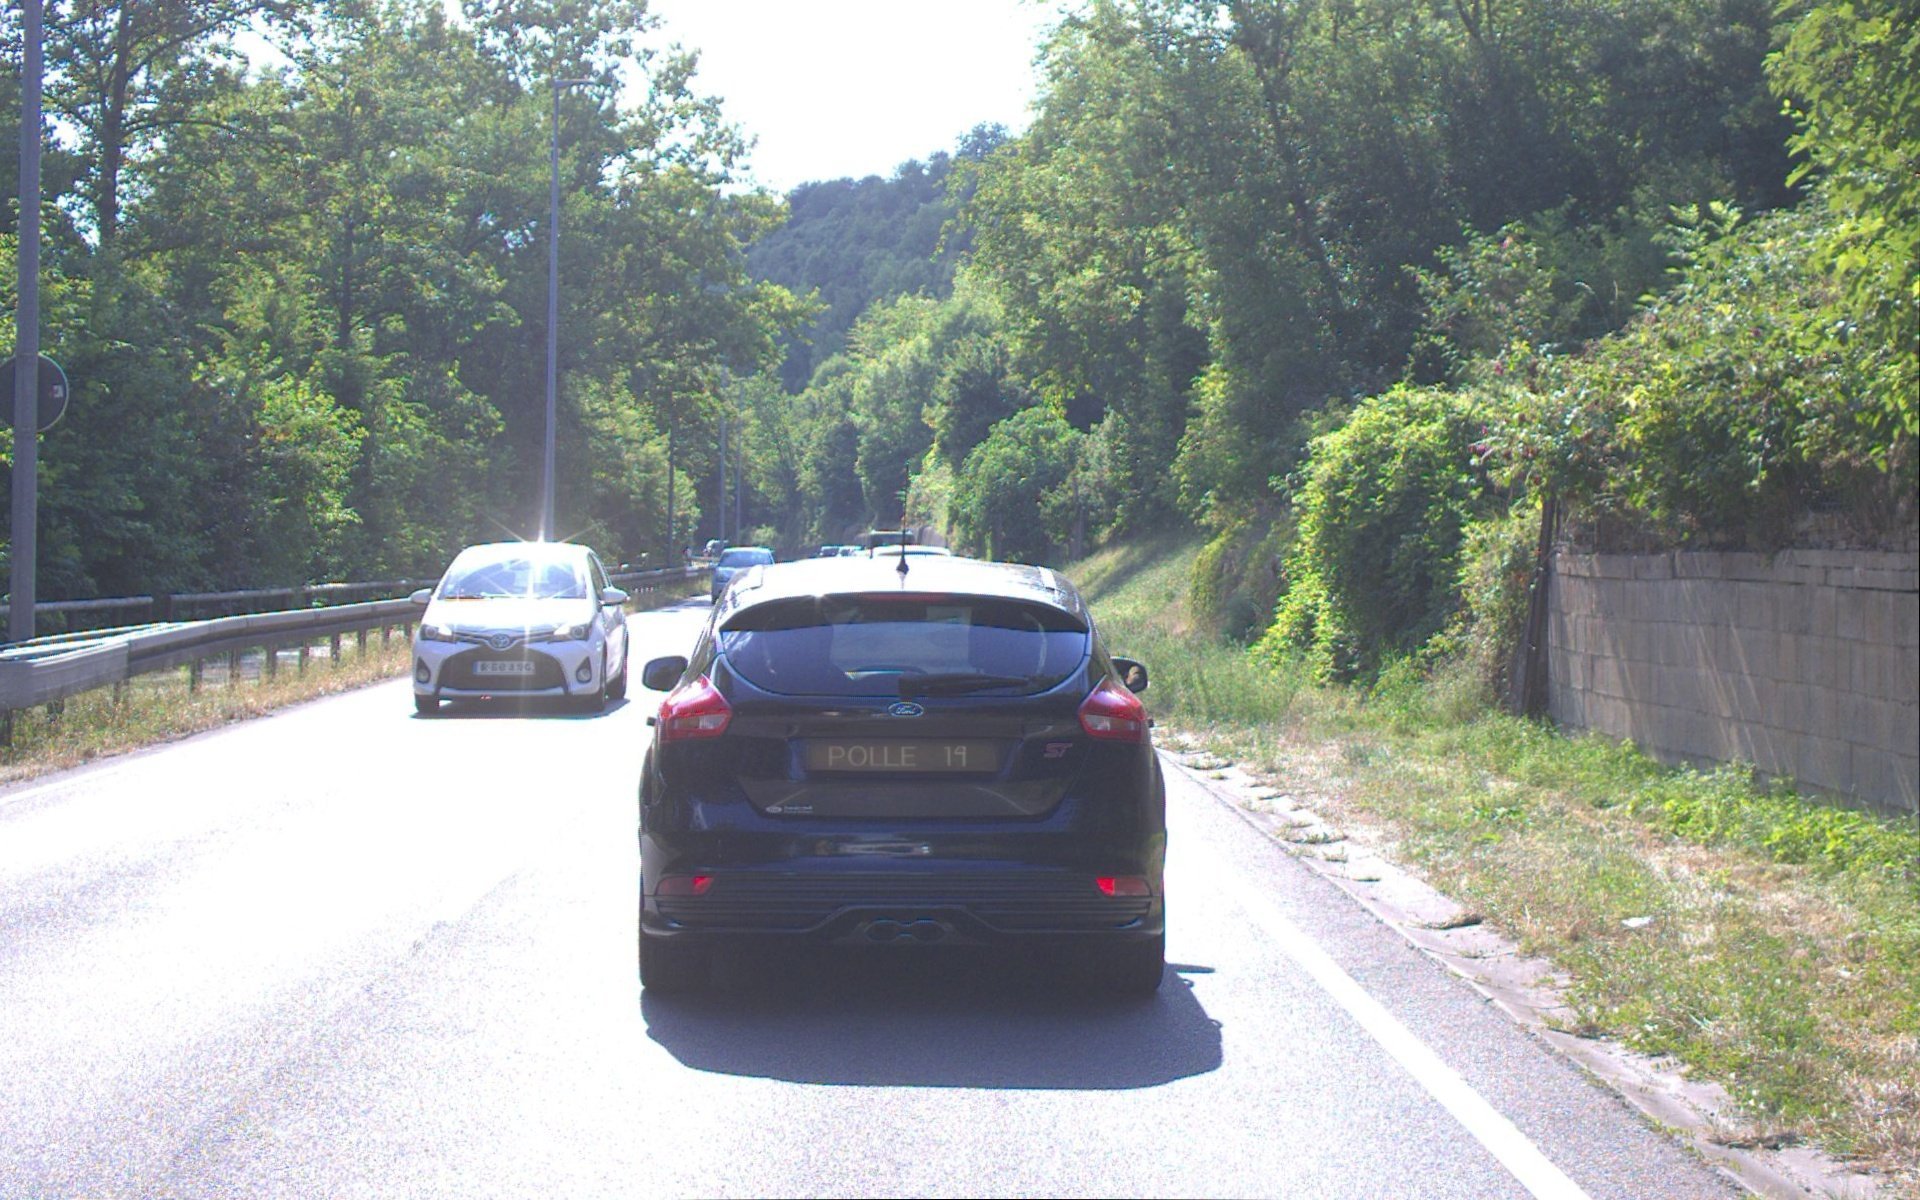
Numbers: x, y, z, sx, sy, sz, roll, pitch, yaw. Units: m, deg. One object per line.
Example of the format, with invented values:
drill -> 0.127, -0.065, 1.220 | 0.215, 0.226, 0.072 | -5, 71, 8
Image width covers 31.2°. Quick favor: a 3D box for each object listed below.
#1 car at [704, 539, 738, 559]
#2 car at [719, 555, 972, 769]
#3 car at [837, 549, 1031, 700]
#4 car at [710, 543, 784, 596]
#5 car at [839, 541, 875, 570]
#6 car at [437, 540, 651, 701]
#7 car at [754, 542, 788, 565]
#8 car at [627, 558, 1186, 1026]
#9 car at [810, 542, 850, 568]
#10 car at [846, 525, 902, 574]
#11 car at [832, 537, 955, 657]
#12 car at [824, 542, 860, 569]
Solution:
car -> -17.870, -3.831, 256.943 | 1.993, 1.514, 4.001 | 0, 1, -12
car -> -0.767, 0.393, 25.145 | 1.661, 1.413, 4.000 | 0, 1, 1
car -> -0.262, 0.198, 34.055 | 1.804, 1.387, 4.000 | 0, 1, -1
car -> -5.644, -0.824, 91.515 | 1.774, 1.383, 4.000 | 0, 1, -1
car -> -5.420, -2.381, 181.774 | 1.819, 1.514, 4.000 | 0, 1, -1
car -> -4.011, 0.155, 33.683 | 1.681, 1.458, 4.198 | 1, 1, -1
car -> -13.029, -3.209, 236.524 | 1.993, 1.514, 4.001 | 0, 1, -8
car -> -0.192, 0.581, 12.796 | 1.739, 1.451, 4.000 | 1, 1, -1
car -> -7.773, -2.687, 205.050 | 1.993, 1.514, 4.001 | 0, 1, -8
car -> -3.152, -1.856, 125.770 | 1.863, 1.774, 4.001 | 0, 1, -4
car -> -0.911, -0.077, 47.764 | 1.631, 1.590, 4.000 | 0, 1, -1
car -> -6.716, -2.526, 194.791 | 1.993, 1.514, 4.001 | 0, 1, -3
